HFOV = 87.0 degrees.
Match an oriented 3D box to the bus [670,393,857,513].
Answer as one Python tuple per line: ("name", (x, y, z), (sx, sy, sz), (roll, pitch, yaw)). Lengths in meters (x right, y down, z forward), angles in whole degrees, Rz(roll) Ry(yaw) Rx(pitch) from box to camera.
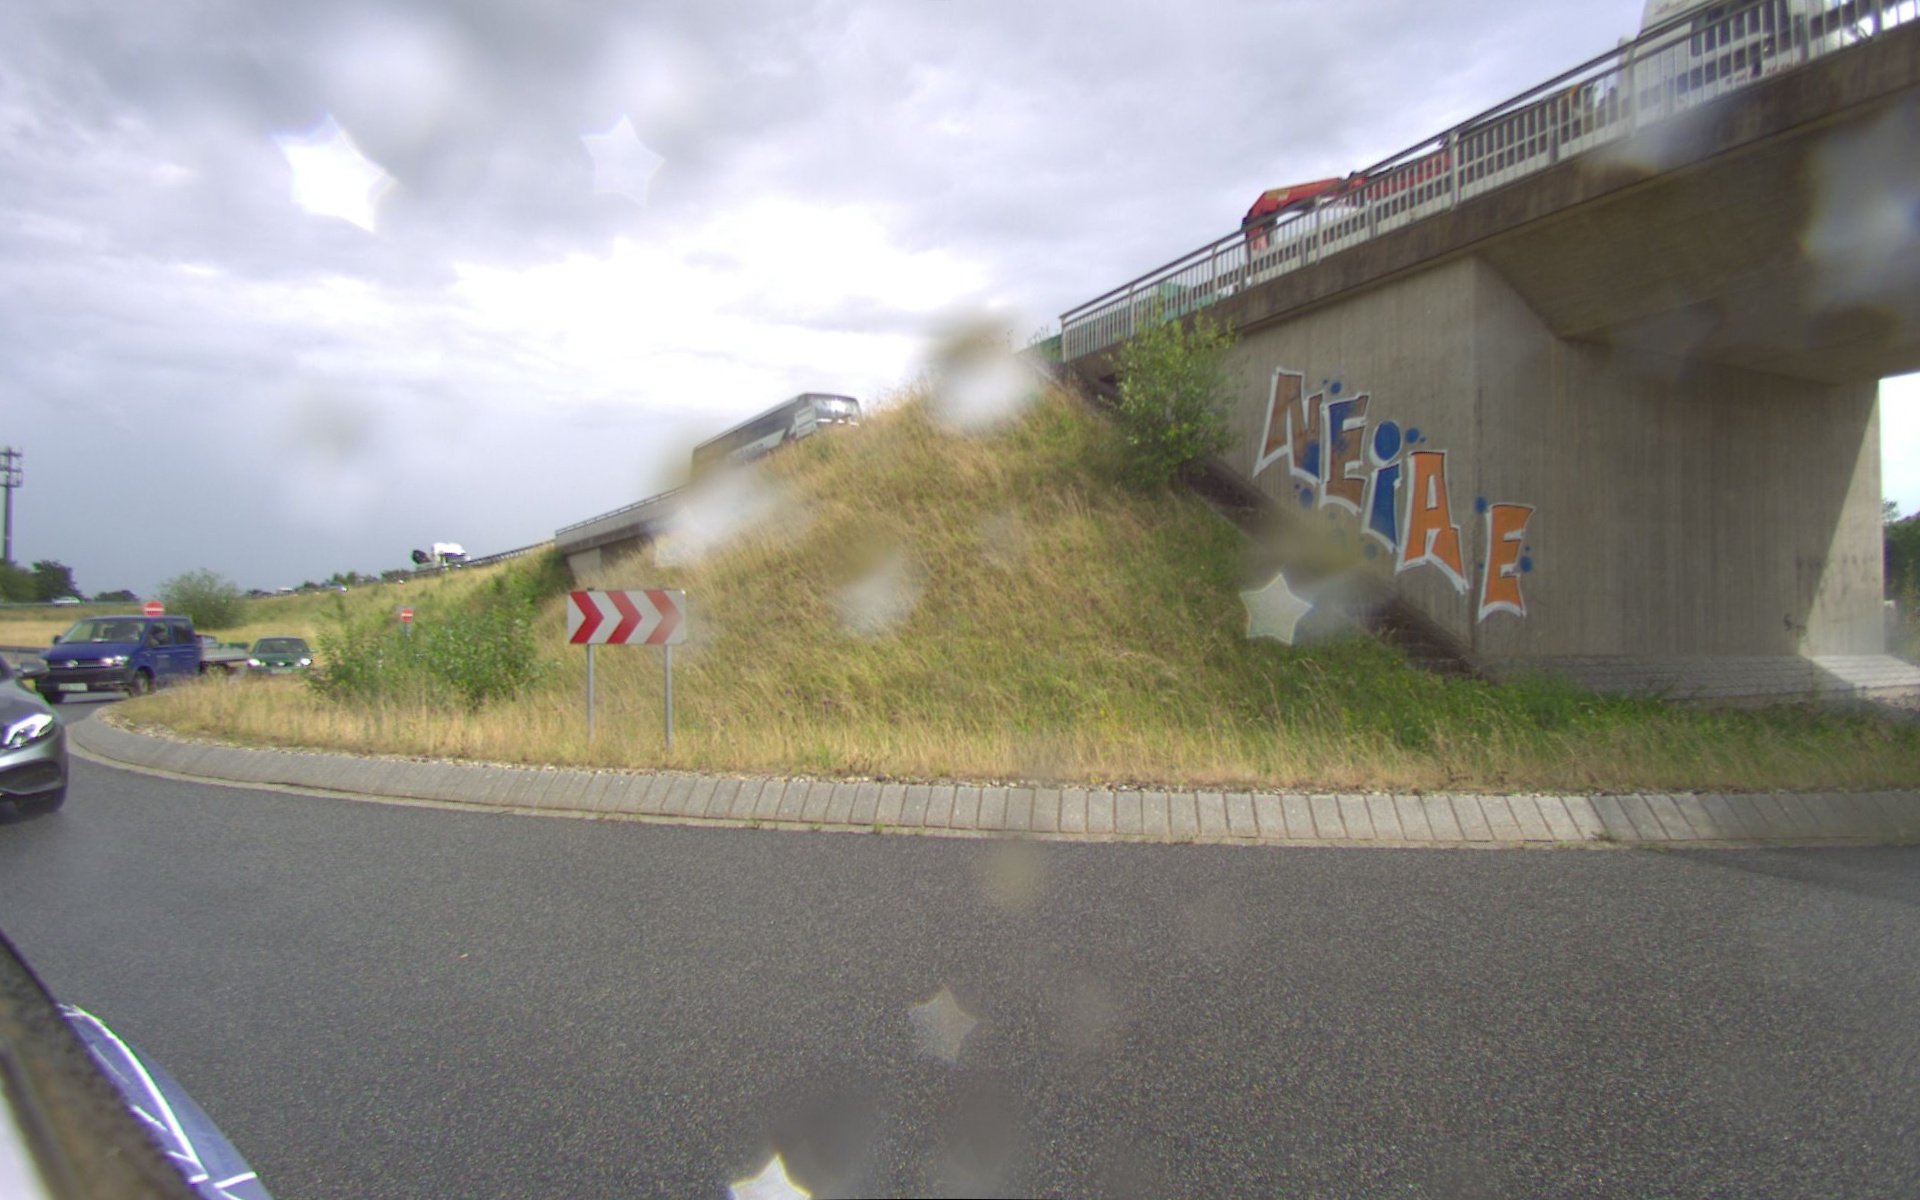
("bus", (-9.219, -6.128, 44.952), (2.569, 3.103, 14.501), (-1, -1, -34))

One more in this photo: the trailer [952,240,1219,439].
("trailer", (2.858, -6.364, 26.282), (2.150, 2.893, 8.356), (-1, -1, -31))

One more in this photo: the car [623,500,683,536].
("car", (-18.075, -4.794, 59.391), (1.688, 1.536, 4.503), (-12, 6, -37))

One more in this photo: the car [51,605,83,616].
("car", (-135.347, 1.576, 153.400), (1.740, 1.656, 3.900), (-1, -1, -7))

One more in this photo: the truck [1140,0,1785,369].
("truck", (7.674, -6.866, 18.118), (2.169, 2.895, 10.857), (-1, -1, -31))

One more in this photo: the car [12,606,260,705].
("car", (-19.260, 1.184, 24.092), (1.864, 1.929, 5.692), (-2, 1, -8))

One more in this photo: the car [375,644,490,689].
("car", (-18.977, 2.359, 36.607), (1.556, 1.548, 3.914), (-1, -3, 11))

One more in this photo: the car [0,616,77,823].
("car", (-8.651, 0.912, 7.842), (4.581, 1.402, 1.750), (-3, -3, 36))

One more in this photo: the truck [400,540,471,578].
("truck", (-52.946, -4.052, 102.057), (9.274, 3.218, 3.118), (-2, -1, 41))

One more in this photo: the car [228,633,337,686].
("car", (-20.165, 1.751, 30.306), (1.744, 1.496, 3.845), (1, -3, -19))
